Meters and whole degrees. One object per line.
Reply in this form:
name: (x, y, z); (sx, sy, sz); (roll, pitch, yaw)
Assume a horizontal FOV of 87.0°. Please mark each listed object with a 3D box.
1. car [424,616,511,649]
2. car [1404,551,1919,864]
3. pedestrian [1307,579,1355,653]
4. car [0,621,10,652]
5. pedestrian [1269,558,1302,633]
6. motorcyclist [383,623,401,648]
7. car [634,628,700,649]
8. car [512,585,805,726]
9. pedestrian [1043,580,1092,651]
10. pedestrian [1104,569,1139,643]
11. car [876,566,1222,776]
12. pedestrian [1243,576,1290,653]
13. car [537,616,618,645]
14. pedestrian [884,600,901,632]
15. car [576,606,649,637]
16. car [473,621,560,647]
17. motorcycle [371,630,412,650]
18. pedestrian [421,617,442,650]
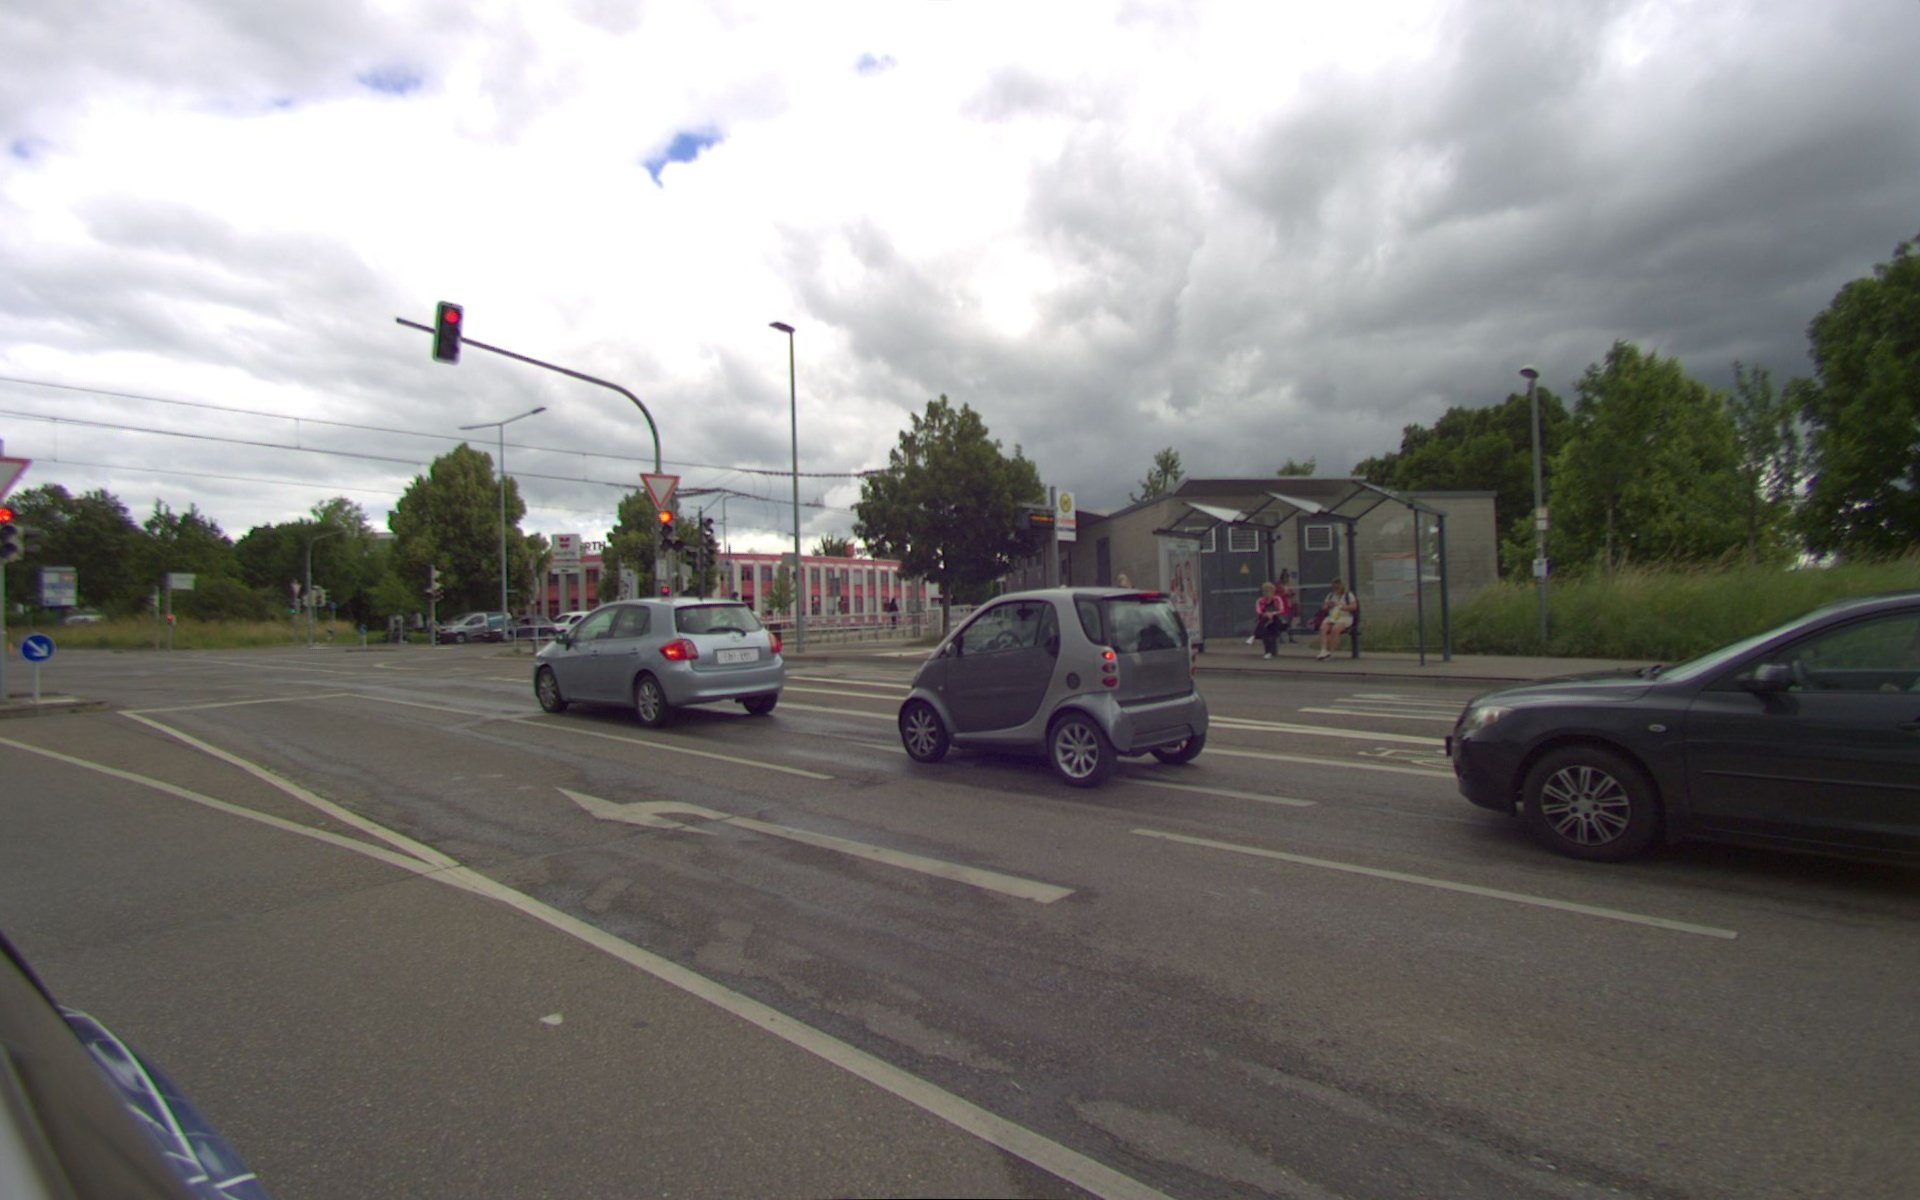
car: (-28.397, 1.848, 58.491); (1.811, 1.793, 4.170); (-1, -1, 37)
car: (4.760, 0.464, 4.964); (1.778, 1.342, 4.383); (0, -1, -44)
pedestrian: (6.358, 0.266, 17.339); (0.550, 1.236, 0.764); (-2, -1, 38)
car: (-60.661, 2.253, 61.865); (4.858, 1.891, 1.985); (-1, -1, 23)
pedestrian: (7.431, -0.097, 23.126); (0.542, 1.682, 0.430); (-1, -1, -7)
motorcyclist: (-34.017, 2.130, 60.628); (0.803, 1.432, 0.762); (-1, -2, -21)
car: (-20.482, 2.695, 70.920); (1.812, 1.351, 4.169); (-2, -4, 37)
car: (-4.055, 0.641, 13.239); (4.220, 1.547, 1.807); (-1, -1, 43)
pedestrian: (2.148, 0.309, 20.251); (0.773, 1.374, 0.543); (-2, -1, 39)
pedestrian: (3.767, 0.143, 23.614); (0.541, 1.682, 0.640); (-1, -1, -16)
car: (0.698, 0.541, 8.894); (2.776, 1.538, 1.412); (-1, -1, 45)
pedestrian: (5.481, 0.257, 18.087); (0.550, 1.340, 0.764); (-2, -1, 38)
car: (-24.577, 1.959, 65.126); (1.812, 1.806, 4.636); (-2, -2, 38)
pedestrian: (-3.377, 0.811, 50.856); (0.563, 1.584, 0.539); (-2, 1, 33)
car: (-24.268, 1.532, 70.769); (2.178, 1.920, 4.405); (-1, -4, 32)
car: (-25.287, 1.980, 57.809); (1.810, 1.351, 4.172); (-1, -4, 35)
motorcycle: (-34.041, 2.390, 60.607); (2.034, 1.098, 0.762); (-1, -2, -21)
pedestrian: (-25.148, 1.606, 48.168); (0.715, 1.542, 0.662); (-2, -1, 39)
